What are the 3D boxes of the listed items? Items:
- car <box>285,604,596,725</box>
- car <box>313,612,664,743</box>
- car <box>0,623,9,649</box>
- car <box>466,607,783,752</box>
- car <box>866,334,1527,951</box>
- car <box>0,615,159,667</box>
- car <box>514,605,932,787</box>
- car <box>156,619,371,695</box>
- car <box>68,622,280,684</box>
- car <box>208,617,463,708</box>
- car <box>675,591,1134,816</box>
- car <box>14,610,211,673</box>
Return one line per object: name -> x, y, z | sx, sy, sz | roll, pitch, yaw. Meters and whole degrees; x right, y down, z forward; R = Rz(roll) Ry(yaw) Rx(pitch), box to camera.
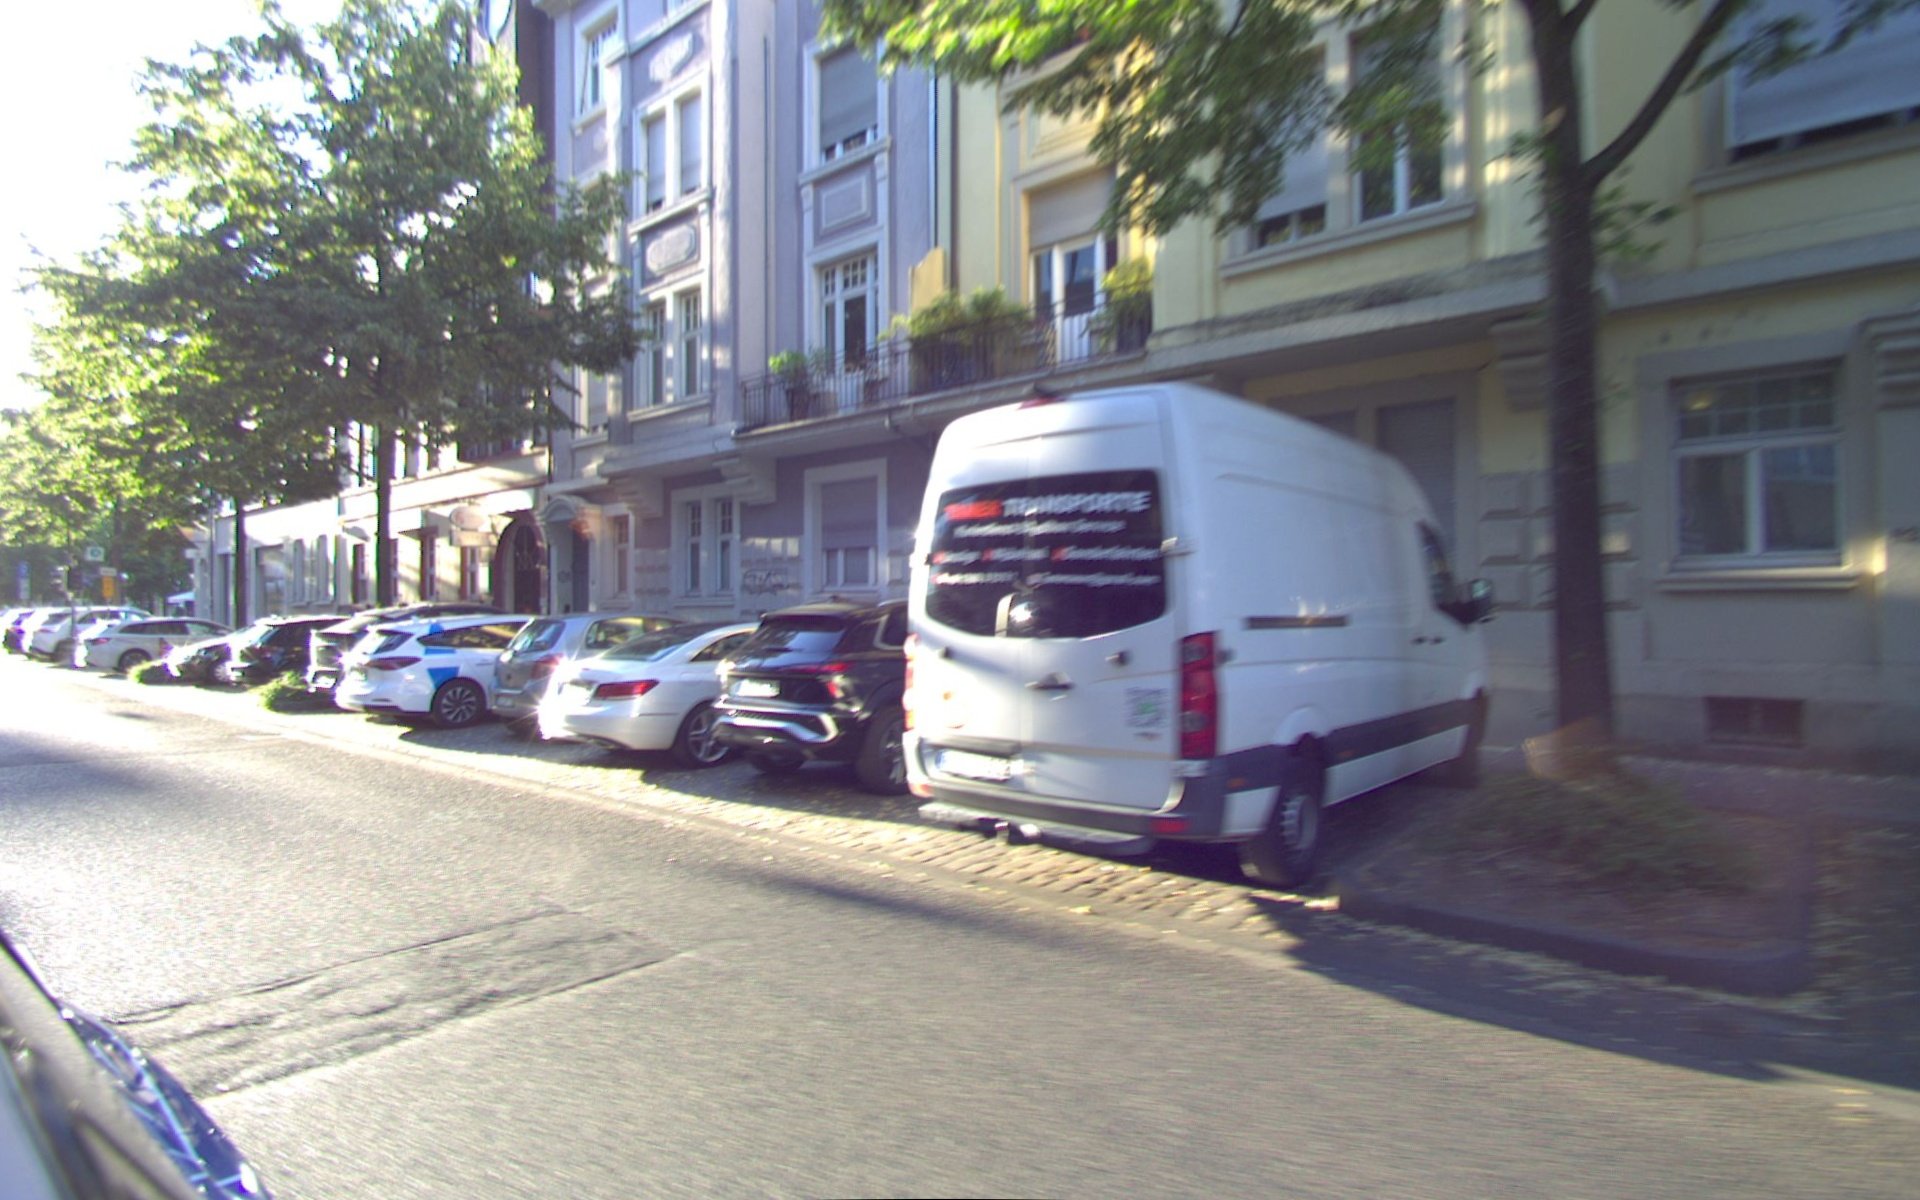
car -> -8.462, 0.953, 16.802 | 1.890, 1.663, 4.192 | -2, 0, 37
car -> -6.620, 0.985, 14.574 | 1.969, 1.494, 4.144 | -2, 0, 40
car -> -58.268, 2.133, 58.719 | 1.790, 1.569, 4.566 | -1, -1, 3
car -> -4.197, 0.898, 12.941 | 1.847, 1.521, 3.369 | -2, 0, 44
car -> 2.130, 0.164, 7.172 | 2.170, 2.641, 5.600 | -2, 0, 41
car -> -32.666, 1.441, 37.399 | 1.945, 1.796, 4.509 | 0, -1, 40
car -> -2.373, 0.859, 11.005 | 1.792, 1.517, 4.170 | -2, 0, 41
car -> -15.855, 1.231, 23.153 | 1.789, 1.459, 3.744 | -2, 0, 43
car -> -21.502, 1.385, 27.816 | 1.821, 1.434, 4.337 | -2, 0, 40
car -> -12.053, 1.133, 19.744 | 1.695, 1.459, 3.878 | -2, 0, 38
car -> -0.327, 0.757, 9.611 | 1.975, 1.612, 4.168 | -2, 0, 42
car -> -27.467, 1.289, 32.923 | 2.052, 1.825, 4.657 | -2, 0, 42
